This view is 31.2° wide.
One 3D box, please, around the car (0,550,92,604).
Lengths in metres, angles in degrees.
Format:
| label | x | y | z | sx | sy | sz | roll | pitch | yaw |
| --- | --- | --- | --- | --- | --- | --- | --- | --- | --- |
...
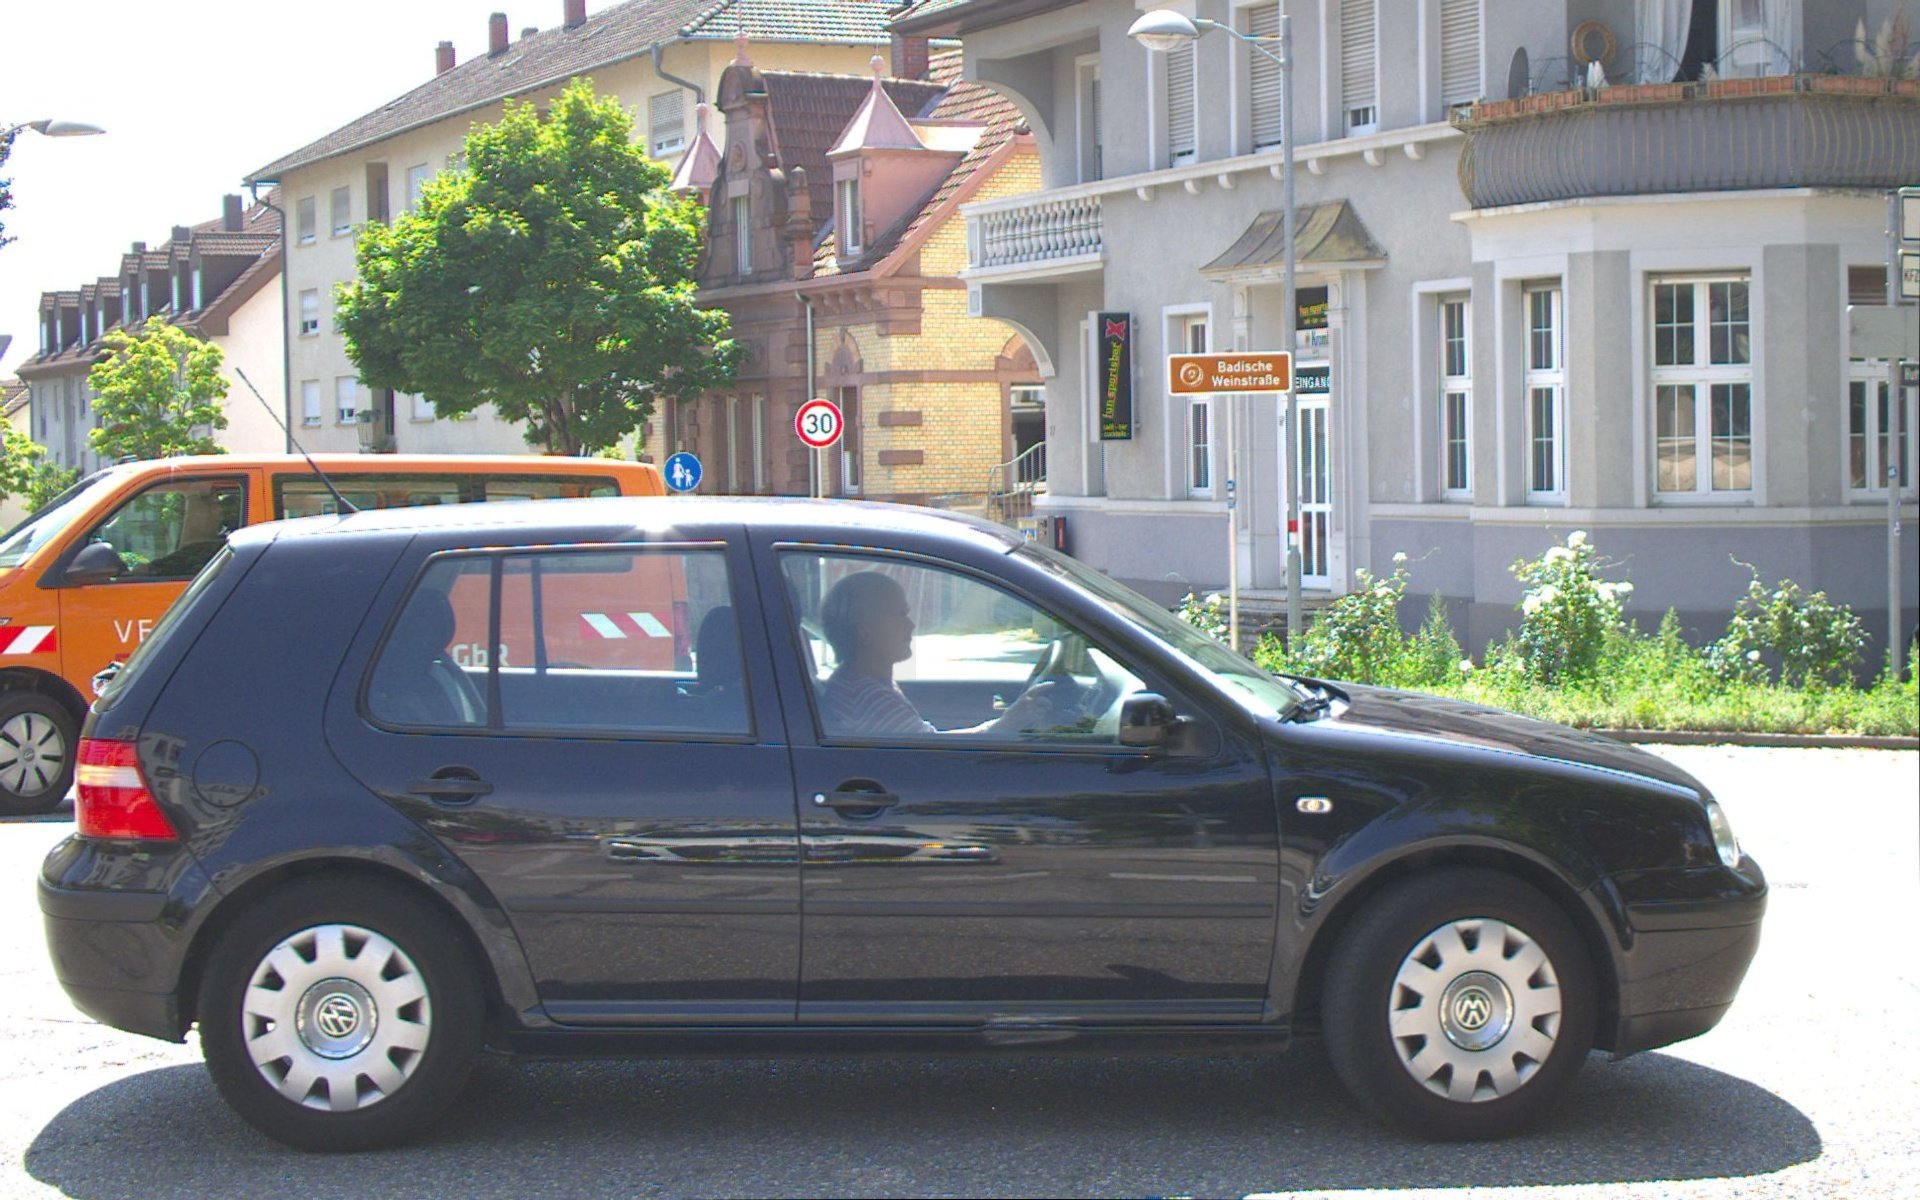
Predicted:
| label | x | y | z | sx | sy | sz | roll | pitch | yaw |
| --- | --- | --- | --- | --- | --- | --- | --- | --- | --- |
| car | -26.577 | -0.684 | 99.381 | 1.993 | 1.504 | 4.420 | -1 | 1 | -26 |

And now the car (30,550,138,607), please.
| label | x | y | z | sx | sy | sz | roll | pitch | yaw |
| --- | --- | --- | --- | --- | --- | --- | --- | --- | --- |
| car | -24.035 | -0.603 | 94.240 | 1.993 | 1.504 | 4.420 | -1 | 1 | -26 |

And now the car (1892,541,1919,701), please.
| label | x | y | z | sx | sy | sz | roll | pitch | yaw |
| --- | --- | --- | --- | --- | --- | --- | --- | --- | --- |
| car | 10.254 | 0.205 | 30.371 | 1.718 | 1.455 | 3.793 | -1 | 1 | -30 |

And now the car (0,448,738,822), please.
| label | x | y | z | sx | sy | sz | roll | pitch | yaw |
| --- | --- | --- | --- | --- | --- | --- | --- | --- | --- |
| car | -3.947 | 0.127 | 19.457 | 5.003 | 1.952 | 1.951 | -1 | 2 | -23 |

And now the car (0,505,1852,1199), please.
| label | x | y | z | sx | sy | sz | roll | pitch | yaw |
| --- | --- | --- | --- | --- | --- | --- | --- | --- | --- |
| car | -0.094 | 0.521 | 8.359 | 4.044 | 1.442 | 1.717 | -1 | 2 | -3 |

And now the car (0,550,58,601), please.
| label | x | y | z | sx | sy | sz | roll | pitch | yaw |
| --- | --- | --- | --- | --- | --- | --- | --- | --- | --- |
| car | -28.697 | -0.750 | 103.743 | 1.993 | 1.504 | 4.420 | -1 | 1 | -26 |
